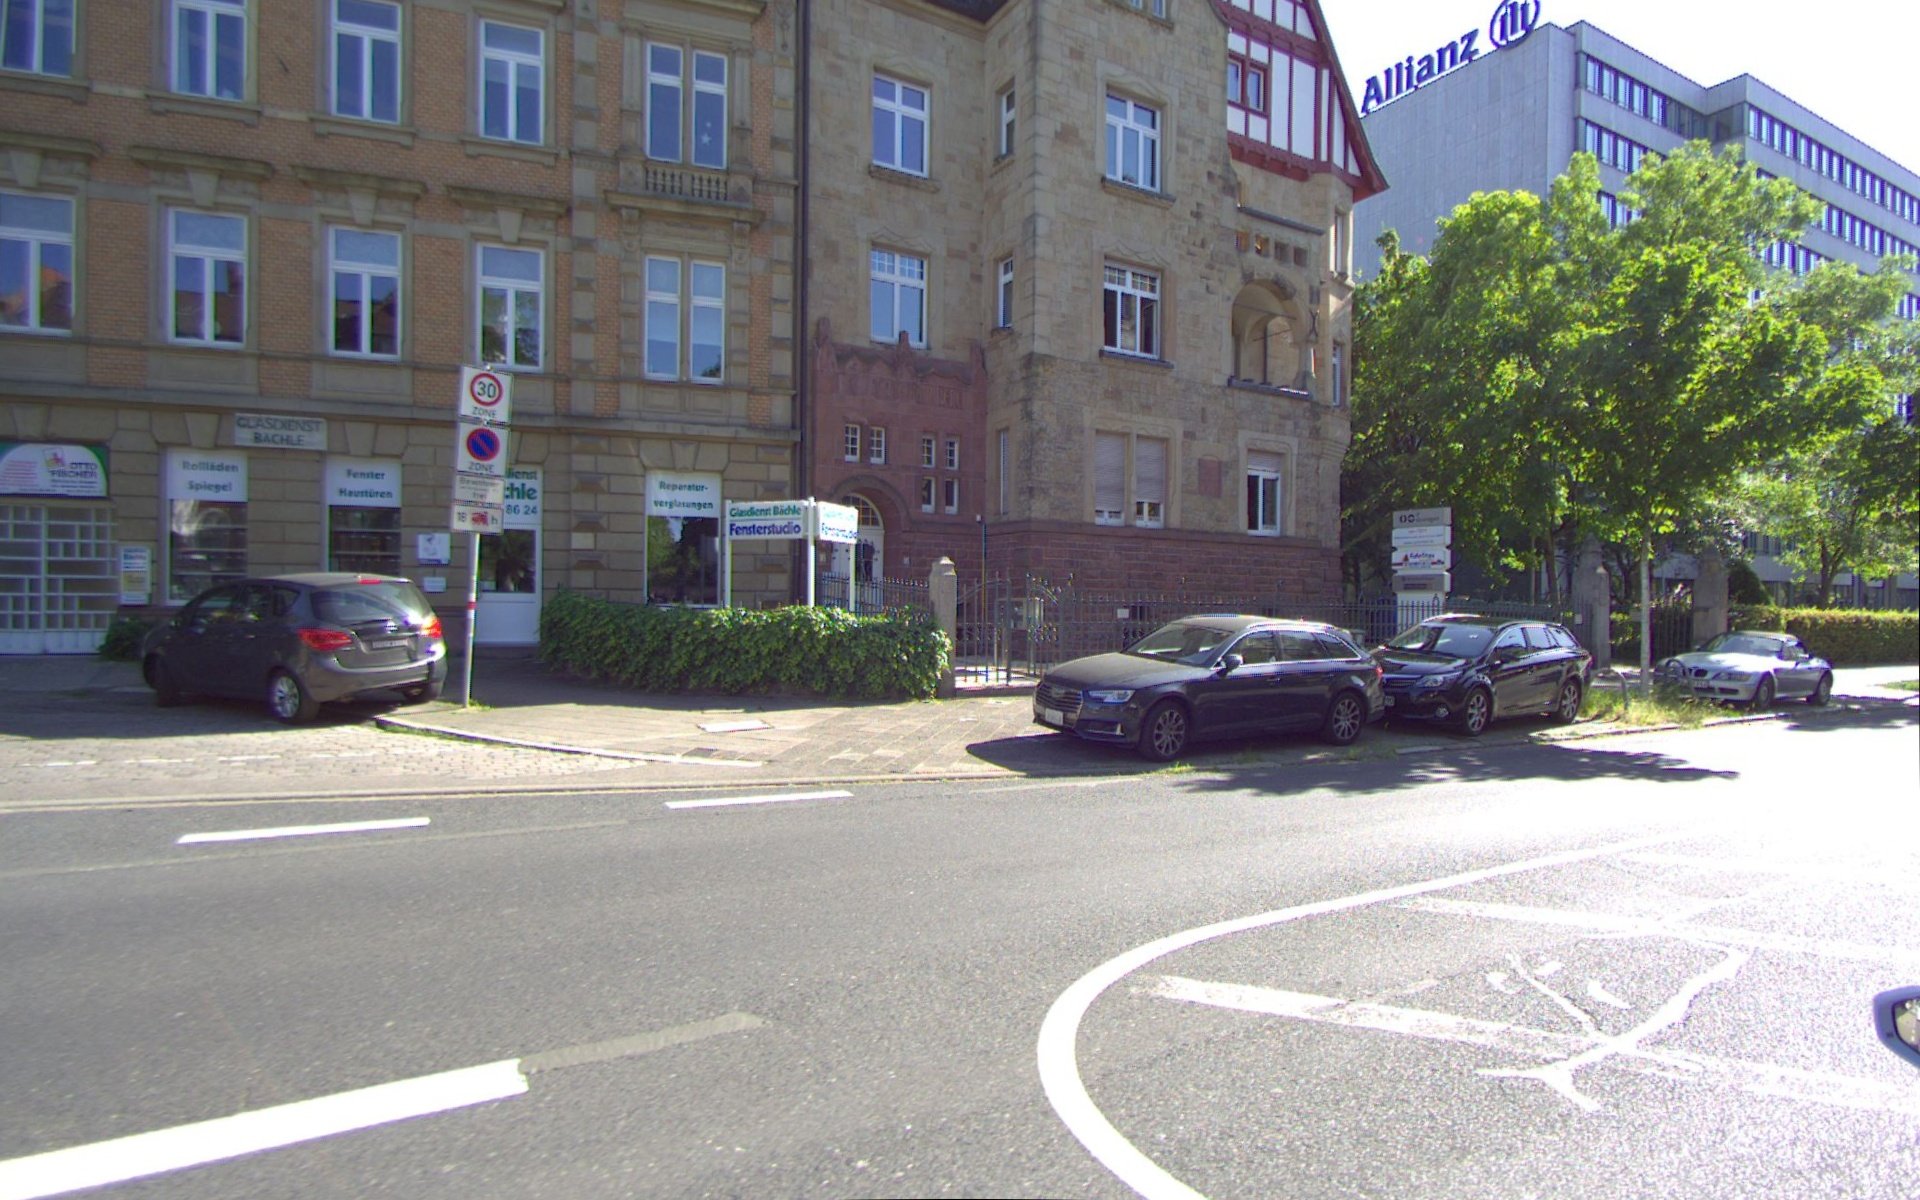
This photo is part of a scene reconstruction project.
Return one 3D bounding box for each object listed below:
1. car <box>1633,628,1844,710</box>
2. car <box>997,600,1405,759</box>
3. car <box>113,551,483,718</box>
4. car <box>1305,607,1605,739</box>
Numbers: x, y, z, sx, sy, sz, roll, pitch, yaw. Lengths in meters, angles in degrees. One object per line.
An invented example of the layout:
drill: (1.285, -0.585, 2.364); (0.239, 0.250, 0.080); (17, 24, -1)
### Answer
car: (14.237, 1.200, 18.325); (3.968, 1.272, 1.670); (1, 1, -30)
car: (2.930, 0.838, 11.920); (4.664, 1.447, 1.847); (1, 4, -30)
car: (-8.060, 0.281, 12.235); (4.067, 1.693, 1.997); (2, 3, 27)
car: (7.238, 0.949, 14.507); (4.660, 1.514, 1.843); (1, 3, -36)
